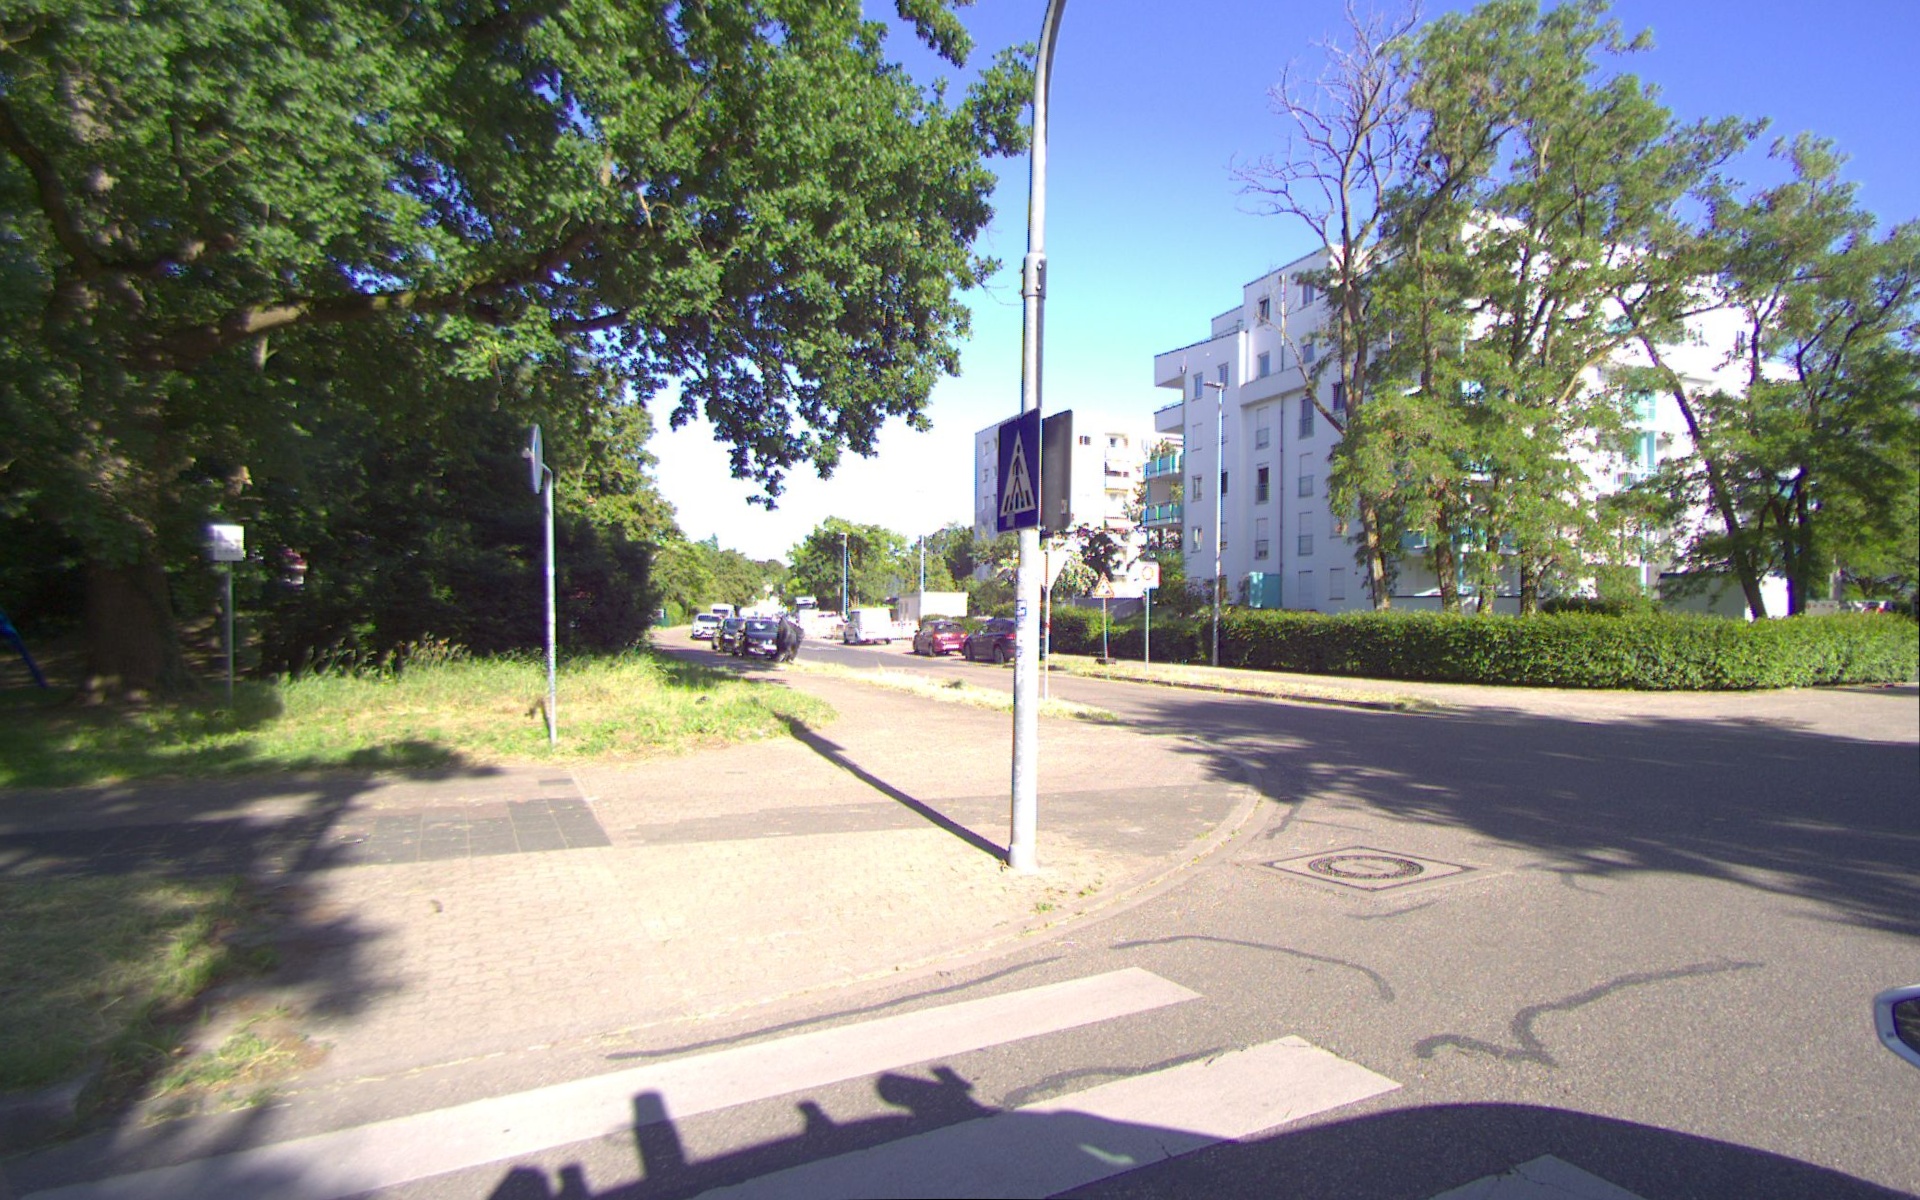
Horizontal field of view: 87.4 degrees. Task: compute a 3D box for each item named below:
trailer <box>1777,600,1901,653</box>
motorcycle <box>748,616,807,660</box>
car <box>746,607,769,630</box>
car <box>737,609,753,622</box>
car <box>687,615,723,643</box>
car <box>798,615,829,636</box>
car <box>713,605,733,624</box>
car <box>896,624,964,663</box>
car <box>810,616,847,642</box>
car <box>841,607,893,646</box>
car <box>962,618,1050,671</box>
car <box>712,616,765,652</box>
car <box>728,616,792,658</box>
[{"bbox_3d":[35.361,1.062,40.421,4.364,2.070,1.973,1,-1,-21],"label":"trailer"},{"bbox_3d":[-5.814,1.204,32.113,0.664,1.362,1.955,0,-1,35],"label":"motorcycle"},{"bbox_3d":[-18.371,1.650,91.051,1.899,2.040,3.990,1,0,-13],"label":"car"},{"bbox_3d":[-28.220,2.005,131.932,1.860,1.662,3.992,1,-1,-11],"label":"car"},{"bbox_3d":[-15.394,1.715,60.530,1.621,1.578,3.816,1,-1,-22],"label":"car"},{"bbox_3d":[-10.369,1.799,71.180,1.498,1.486,3.057,1,-1,-22],"label":"car"},{"bbox_3d":[-24.514,1.452,103.943,1.949,1.925,3.990,1,-1,-13],"label":"car"},{"bbox_3d":[-1.325,1.816,42.922,1.615,1.531,3.815,1,-1,-23],"label":"car"},{"bbox_3d":[-8.633,1.880,65.781,1.512,1.578,3.646,1,-1,-22],"label":"car"},{"bbox_3d":[-5.240,1.472,56.087,1.802,2.088,3.815,1,-1,-23],"label":"car"},{"bbox_3d":[1.632,1.569,36.674,1.732,1.808,3.815,1,-1,-23],"label":"car"},{"bbox_3d":[-9.340,1.407,42.136,1.538,1.410,3.569,1,-1,-23],"label":"car"},{"bbox_3d":[-7.222,1.297,36.051,1.538,1.410,3.569,1,-1,-23],"label":"car"}]
